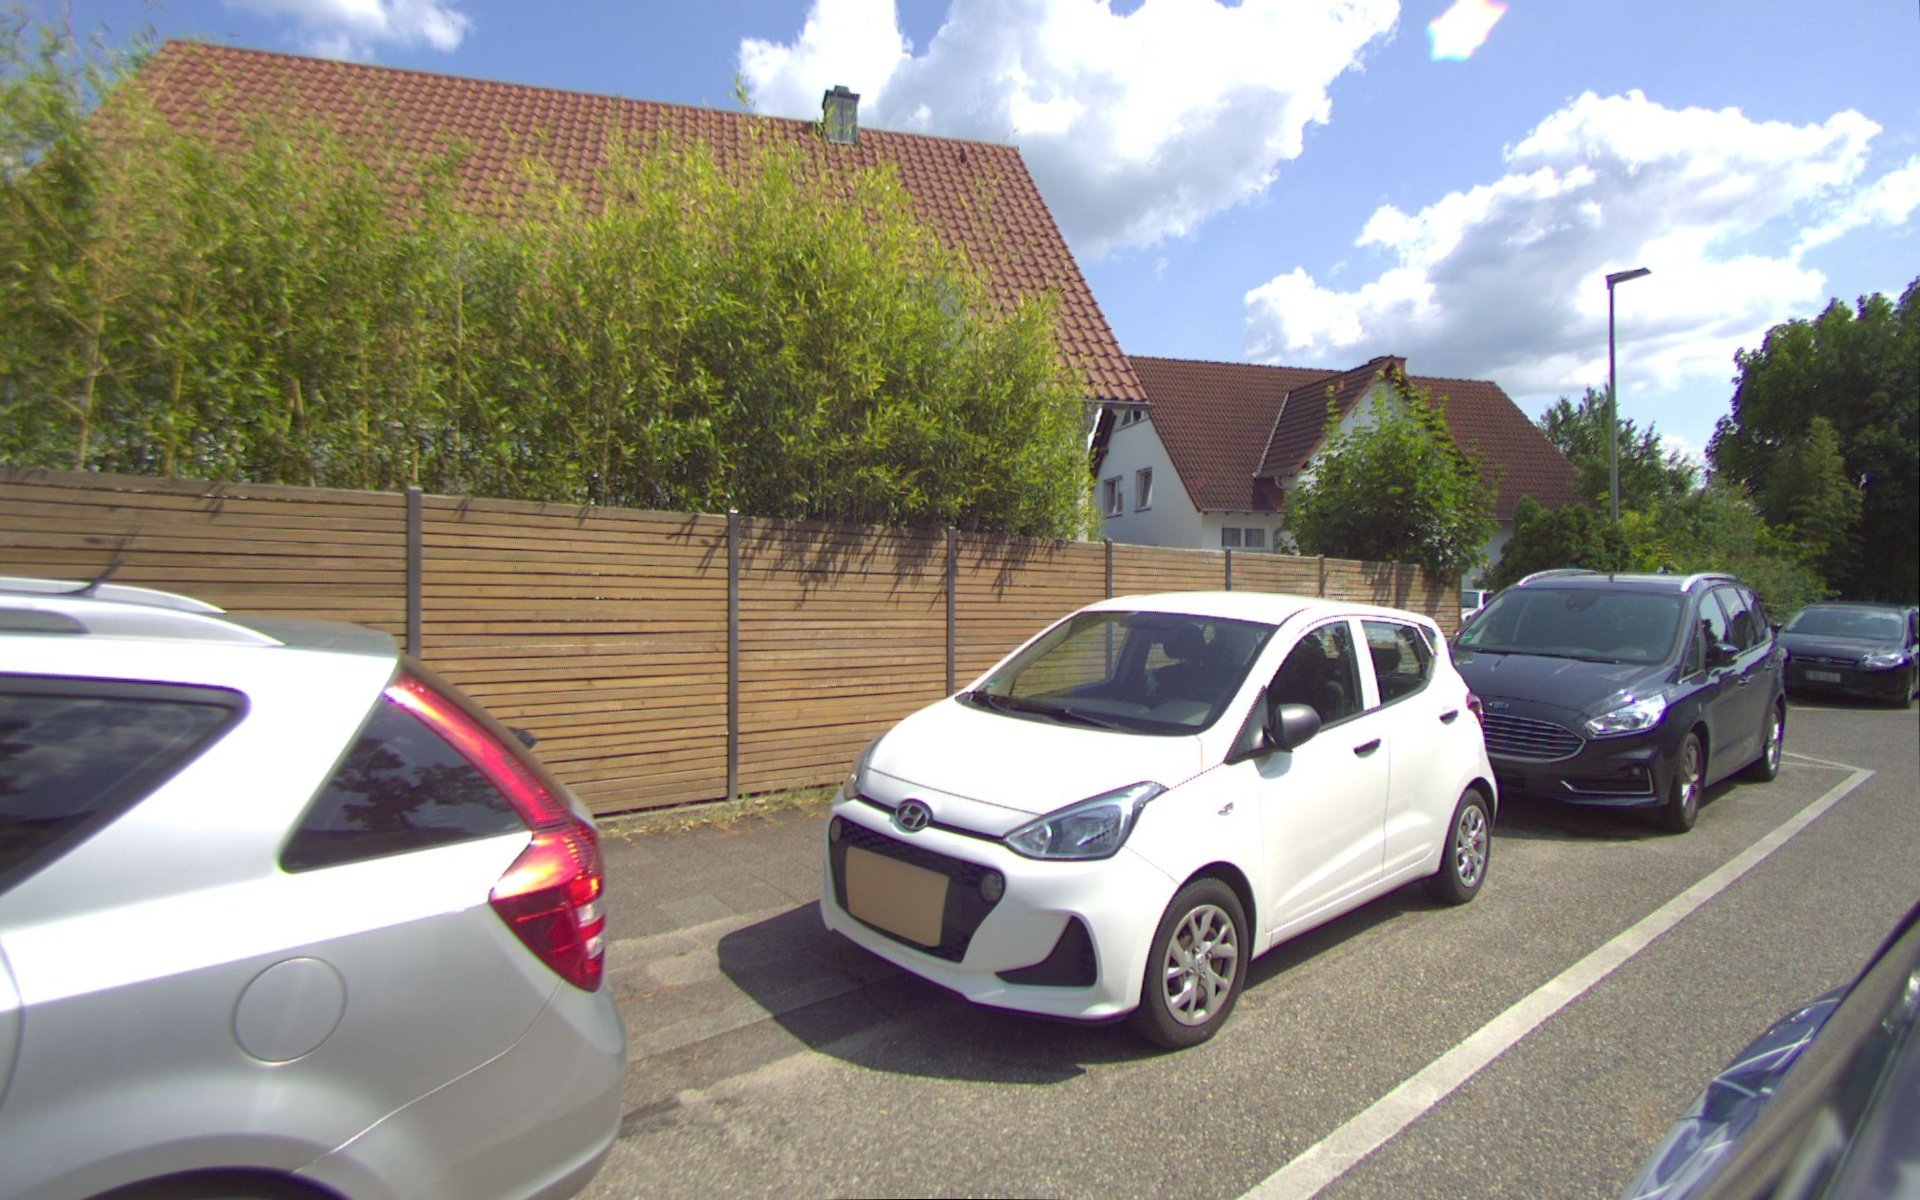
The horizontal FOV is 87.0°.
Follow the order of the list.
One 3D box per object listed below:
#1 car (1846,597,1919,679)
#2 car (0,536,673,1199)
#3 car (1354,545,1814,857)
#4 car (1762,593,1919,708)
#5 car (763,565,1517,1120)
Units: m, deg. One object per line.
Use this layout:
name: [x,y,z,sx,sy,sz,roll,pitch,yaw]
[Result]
car: [18.695,0.709,19.520,3.987,1.455,1.685,1,1,-38]
car: [-2.709,0.694,1.229,4.217,1.572,1.748,0,0,-41]
car: [5.178,0.550,8.091,4.628,1.796,1.894,-1,0,-42]
car: [14.117,0.671,15.775,4.220,1.524,1.731,0,2,-40]
car: [1.065,0.670,4.549,3.608,1.524,1.444,1,0,-43]
